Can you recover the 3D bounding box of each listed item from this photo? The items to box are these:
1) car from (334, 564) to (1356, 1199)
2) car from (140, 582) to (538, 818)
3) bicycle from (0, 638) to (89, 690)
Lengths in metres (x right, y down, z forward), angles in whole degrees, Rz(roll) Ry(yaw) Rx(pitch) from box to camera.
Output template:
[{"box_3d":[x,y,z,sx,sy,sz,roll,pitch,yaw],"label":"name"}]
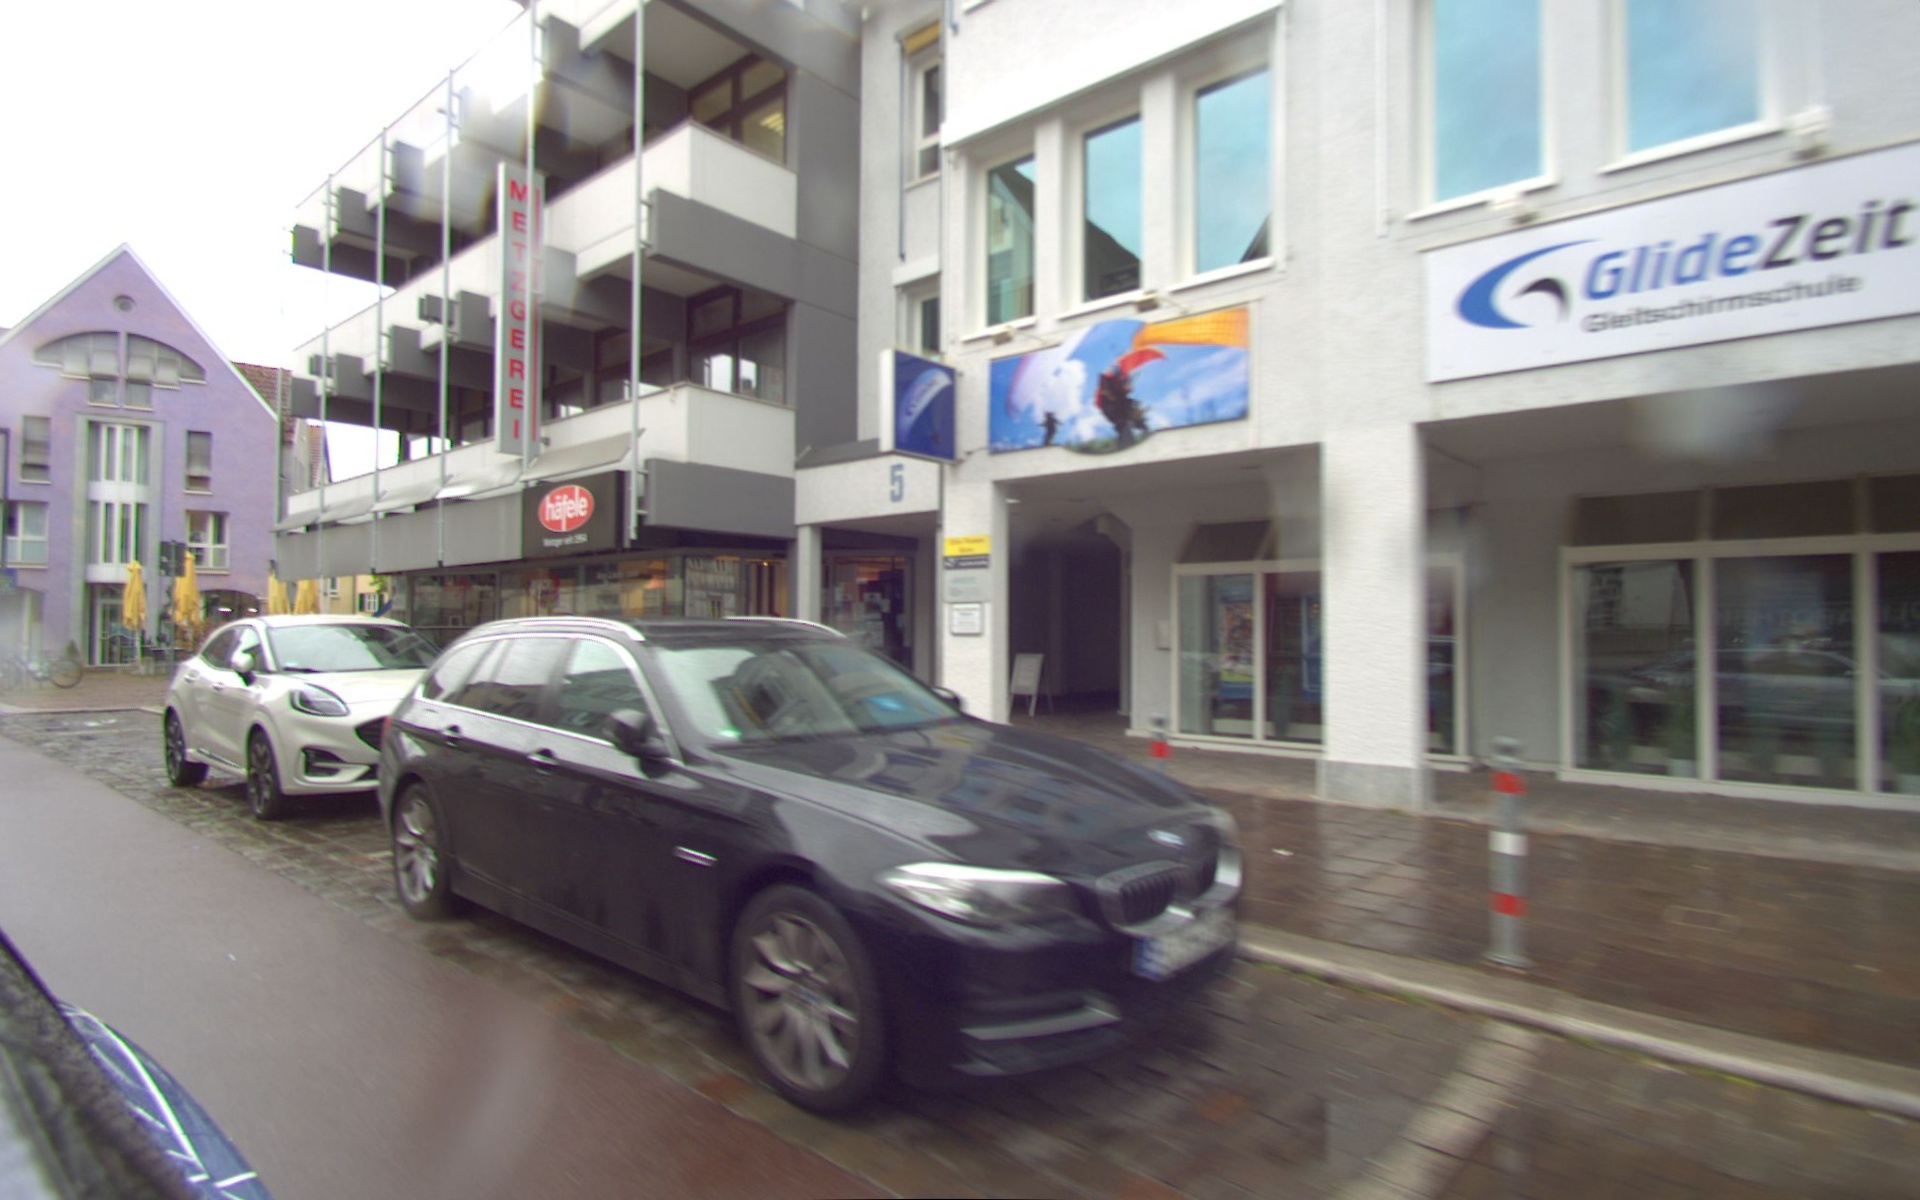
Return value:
[{"box_3d":[-0.963,0.758,4.507,4.762,1.510,1.811,-2,-3,42],"label":"car"},{"box_3d":[-5.457,0.720,8.699,3.997,1.563,1.773,-2,-2,40],"label":"car"},{"box_3d":[-22.328,1.533,24.590,0.441,1.173,1.739,1,-1,21],"label":"bicycle"}]
